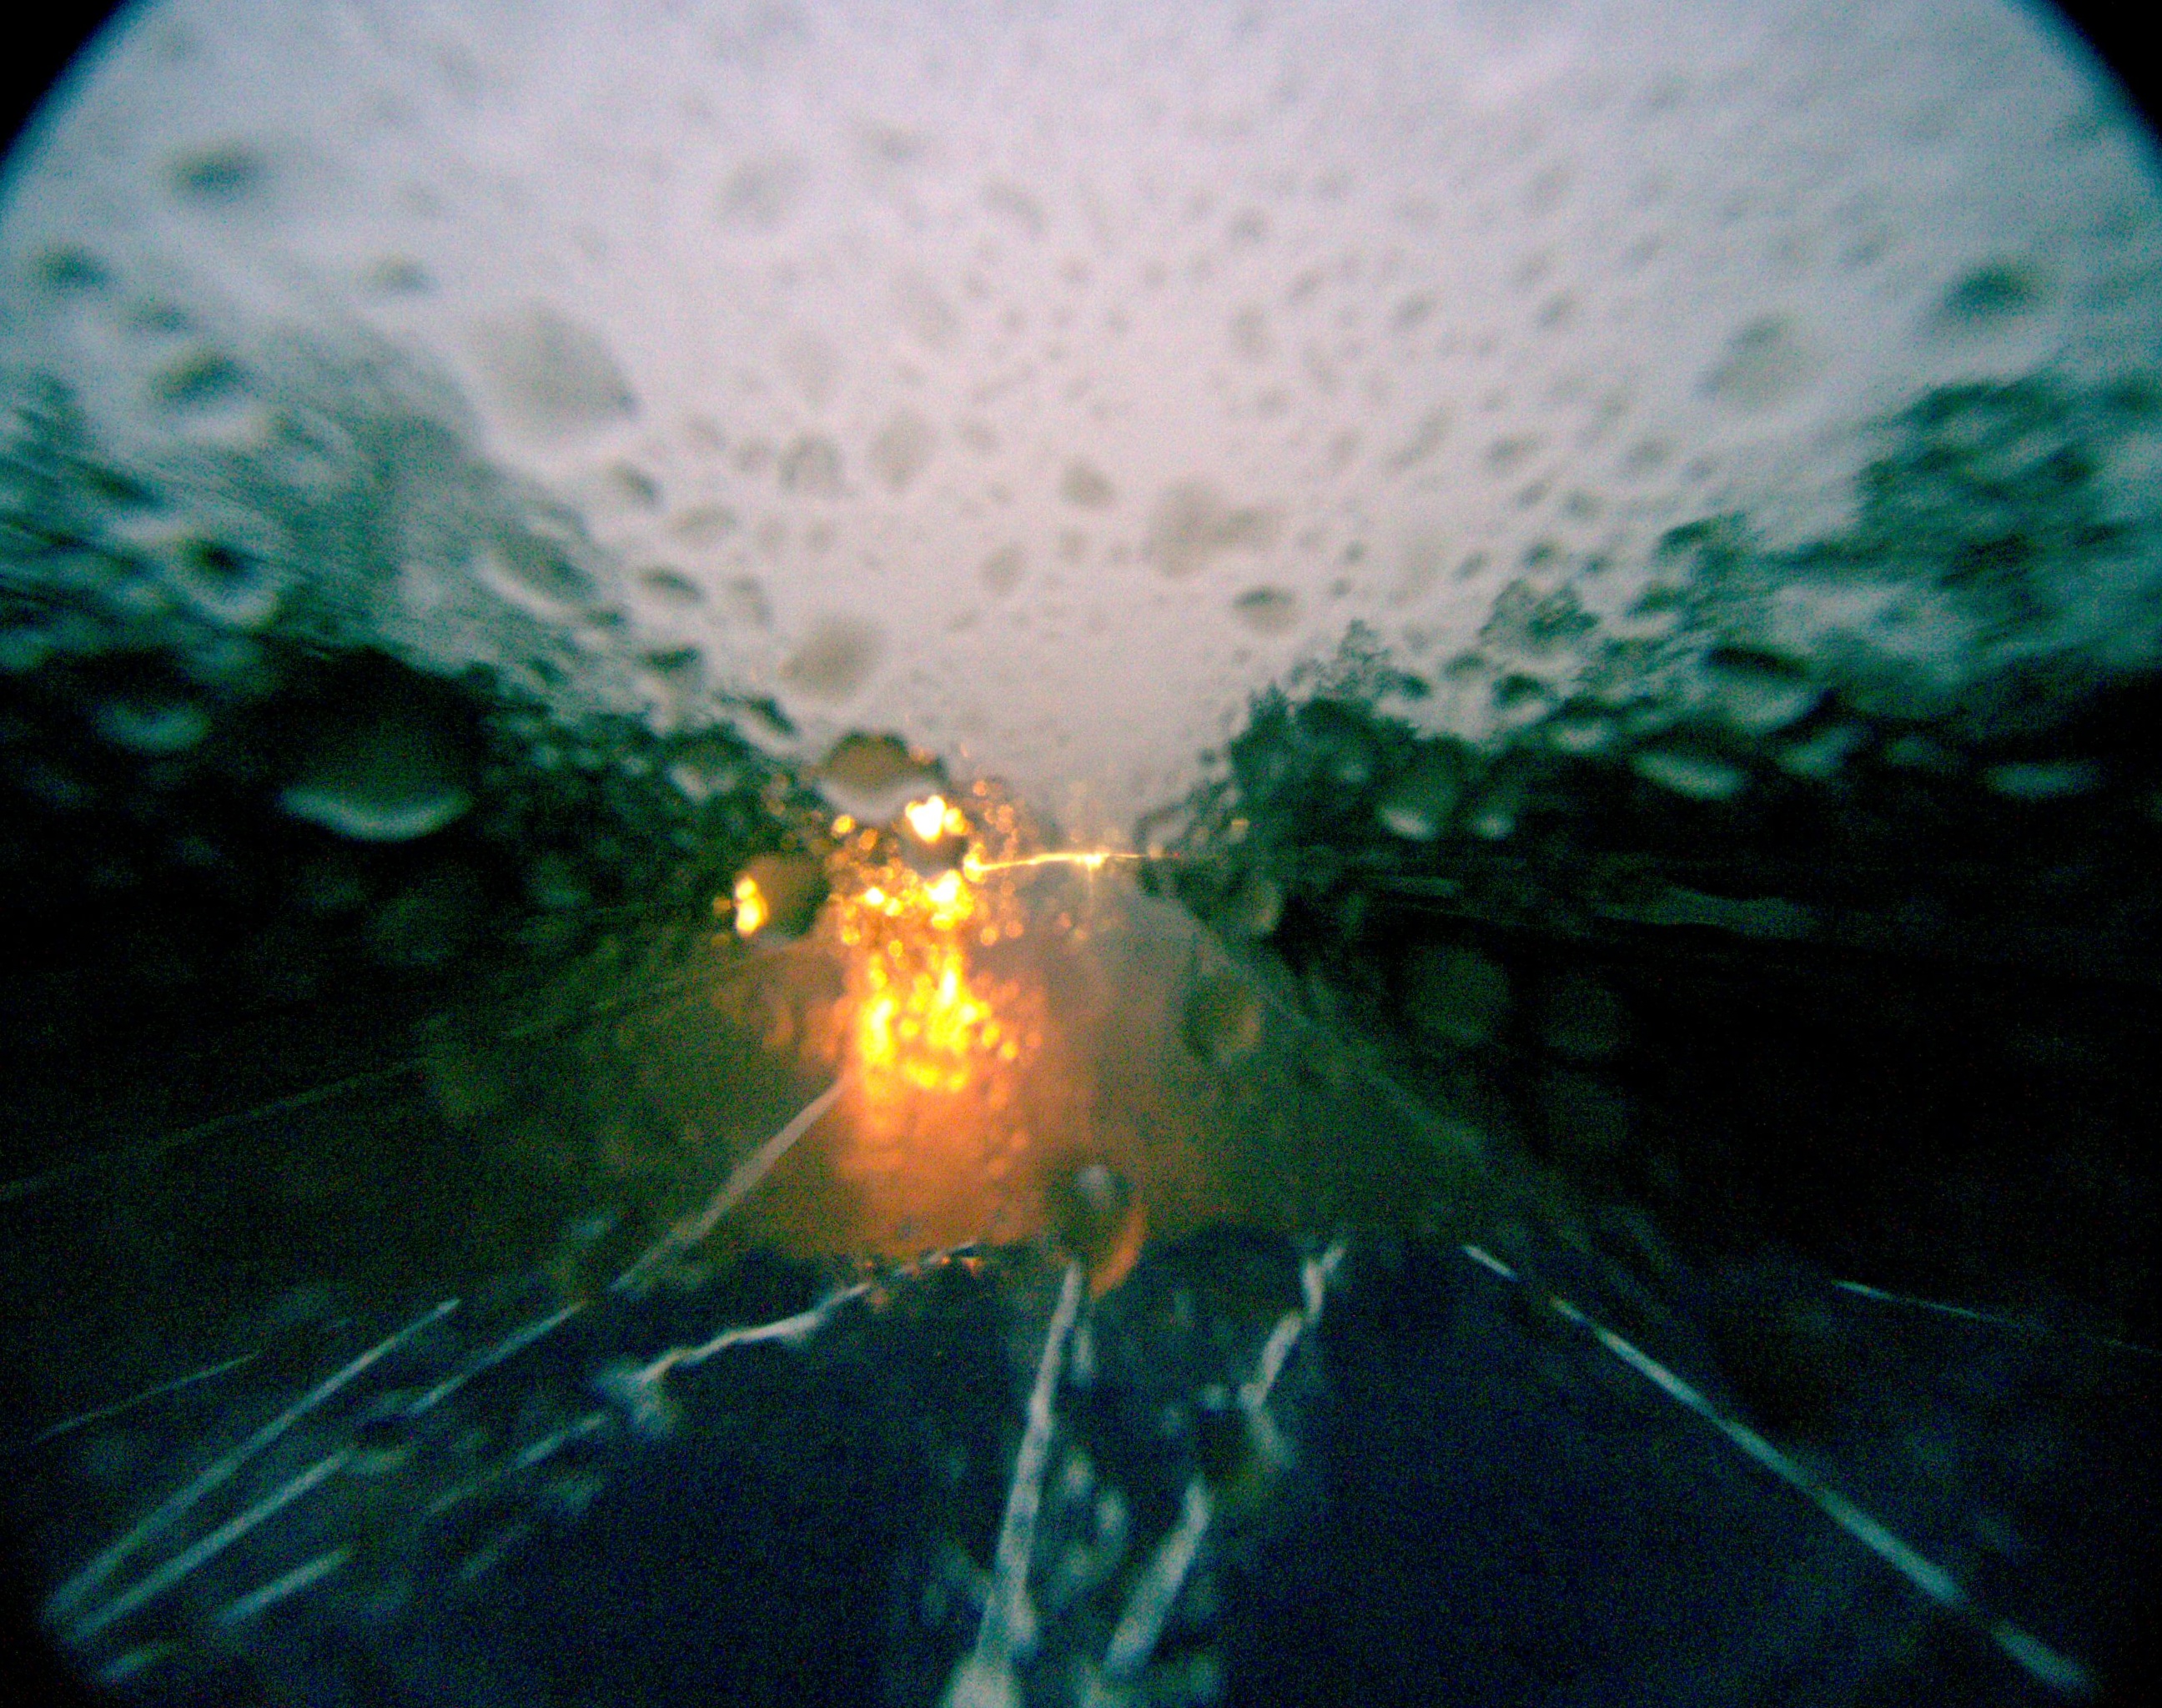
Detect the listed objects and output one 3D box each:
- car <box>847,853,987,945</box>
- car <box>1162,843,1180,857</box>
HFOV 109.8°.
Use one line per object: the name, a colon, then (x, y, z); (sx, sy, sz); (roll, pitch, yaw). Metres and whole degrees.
car: (-3.444, 0.868, 16.940); (2.075, 1.688, 4.461); (-2, 0, 0)
car: (13.460, -0.658, 113.901); (1.999, 2.002, 4.784); (-2, 0, -1)
